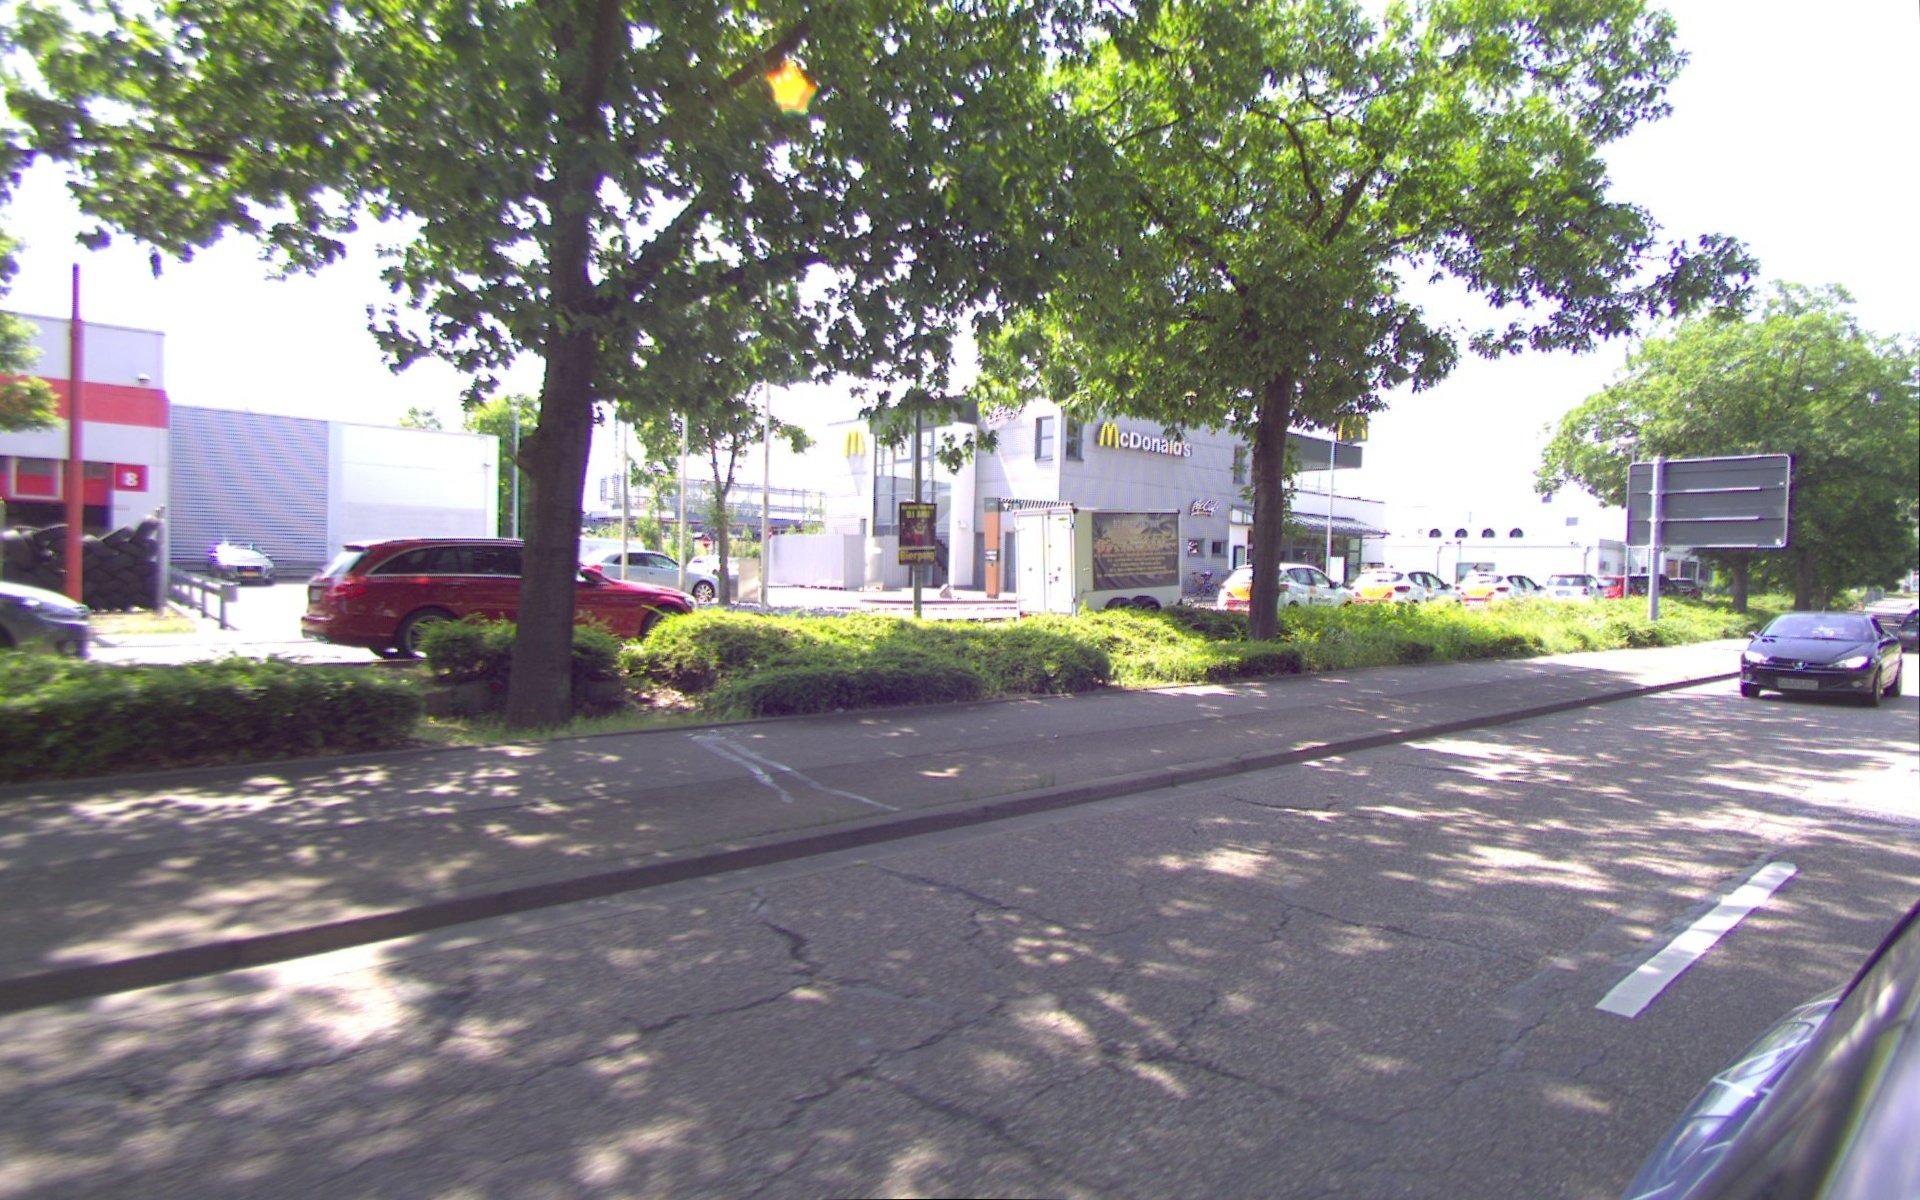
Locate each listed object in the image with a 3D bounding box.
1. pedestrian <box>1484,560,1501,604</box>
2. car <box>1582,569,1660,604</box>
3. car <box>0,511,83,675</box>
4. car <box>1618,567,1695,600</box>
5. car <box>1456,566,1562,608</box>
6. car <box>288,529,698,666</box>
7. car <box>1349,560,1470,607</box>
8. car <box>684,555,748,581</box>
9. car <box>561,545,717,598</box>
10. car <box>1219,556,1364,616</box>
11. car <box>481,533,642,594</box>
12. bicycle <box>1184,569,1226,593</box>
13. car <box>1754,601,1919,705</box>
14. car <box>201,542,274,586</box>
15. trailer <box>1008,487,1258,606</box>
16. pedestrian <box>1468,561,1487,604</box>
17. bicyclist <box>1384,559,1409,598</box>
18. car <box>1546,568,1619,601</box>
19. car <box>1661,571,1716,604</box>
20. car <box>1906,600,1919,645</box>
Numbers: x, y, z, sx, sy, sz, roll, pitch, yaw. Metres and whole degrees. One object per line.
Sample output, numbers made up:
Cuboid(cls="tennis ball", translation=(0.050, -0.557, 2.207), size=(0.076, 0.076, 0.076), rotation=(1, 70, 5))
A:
Cuboid(cls="pedestrian", translation=(23.884, -0.790, 45.403), size=(0.525, 1.945, 0.467), rotation=(0, 2, -41))
Cuboid(cls="car", translation=(25.349, -0.552, 38.772), size=(3.699, 1.268, 1.621), rotation=(-1, 2, -42))
Cuboid(cls="car", translation=(-9.734, -0.085, 8.293), size=(3.838, 1.397, 1.703), rotation=(0, 2, -42))
Cuboid(cls="car", translation=(28.959, -0.688, 42.047), size=(4.126, 1.268, 1.622), rotation=(-1, 0, -41))
Cuboid(cls="car", translation=(17.739, -0.440, 32.658), size=(3.795, 1.268, 1.623), rotation=(-1, 2, -38))
Cuboid(cls="car", translation=(-5.561, -0.052, 12.378), size=(4.249, 1.397, 1.703), rotation=(0, 2, -42))
Cuboid(cls="car", translation=(12.161, -0.463, 27.272), size=(3.673, 1.172, 1.596), rotation=(-1, 2, -41))
Cuboid(cls="car", translation=(-13.113, -1.713, 54.202), size=(1.526, 1.238, 4.235), rotation=(0, 3, -41))
Cuboid(cls="car", translation=(-8.630, -0.763, 27.378), size=(3.710, 1.356, 1.586), rotation=(0, 2, -41))
Cuboid(cls="car", translation=(7.680, -0.342, 23.317), size=(3.569, 1.268, 1.621), rotation=(-1, 2, -42))
Cuboid(cls="car", translation=(-12.880, -1.155, 32.881), size=(4.550, 1.827, 1.713), rotation=(0, 2, -41))
Cuboid(cls="bicycle", translation=(10.291, -0.791, 42.468), size=(2.064, 0.992, 0.590), rotation=(0, 2, -40))
Cuboid(cls="car", translation=(14.004, 0.756, 16.050), size=(3.439, 1.373, 1.640), rotation=(-1, 2, -42))
Cuboid(cls="car", translation=(-28.260, -1.432, 39.541), size=(1.816, 1.593, 3.993), rotation=(0, 3, -43))
Cuboid(cls="trailer", translation=(3.542, -0.957, 20.034), size=(5.384, 2.081, 1.705), rotation=(0, 1, -39))
Cuboid(cls="pedestrian", translation=(23.489, -0.785, 45.930), size=(0.402, 1.945, 0.582), rotation=(0, 2, -41))
Cuboid(cls="bicyclist", translation=(20.866, -1.004, 48.373), size=(0.849, 1.826, 0.779), rotation=(0, 2, -43))
Cuboid(cls="car", translation=(22.240, -0.568, 36.117), size=(2.808, 1.136, 1.509), rotation=(-1, 2, -43))
Cuboid(cls="car", translation=(33.841, -0.619, 46.961), size=(1.901, 1.469, 5.526), rotation=(1, 2, 37))
Cuboid(cls="car", translation=(30.627, 0.723, 31.438), size=(1.706, 1.340, 3.895), rotation=(2, 1, 42))
